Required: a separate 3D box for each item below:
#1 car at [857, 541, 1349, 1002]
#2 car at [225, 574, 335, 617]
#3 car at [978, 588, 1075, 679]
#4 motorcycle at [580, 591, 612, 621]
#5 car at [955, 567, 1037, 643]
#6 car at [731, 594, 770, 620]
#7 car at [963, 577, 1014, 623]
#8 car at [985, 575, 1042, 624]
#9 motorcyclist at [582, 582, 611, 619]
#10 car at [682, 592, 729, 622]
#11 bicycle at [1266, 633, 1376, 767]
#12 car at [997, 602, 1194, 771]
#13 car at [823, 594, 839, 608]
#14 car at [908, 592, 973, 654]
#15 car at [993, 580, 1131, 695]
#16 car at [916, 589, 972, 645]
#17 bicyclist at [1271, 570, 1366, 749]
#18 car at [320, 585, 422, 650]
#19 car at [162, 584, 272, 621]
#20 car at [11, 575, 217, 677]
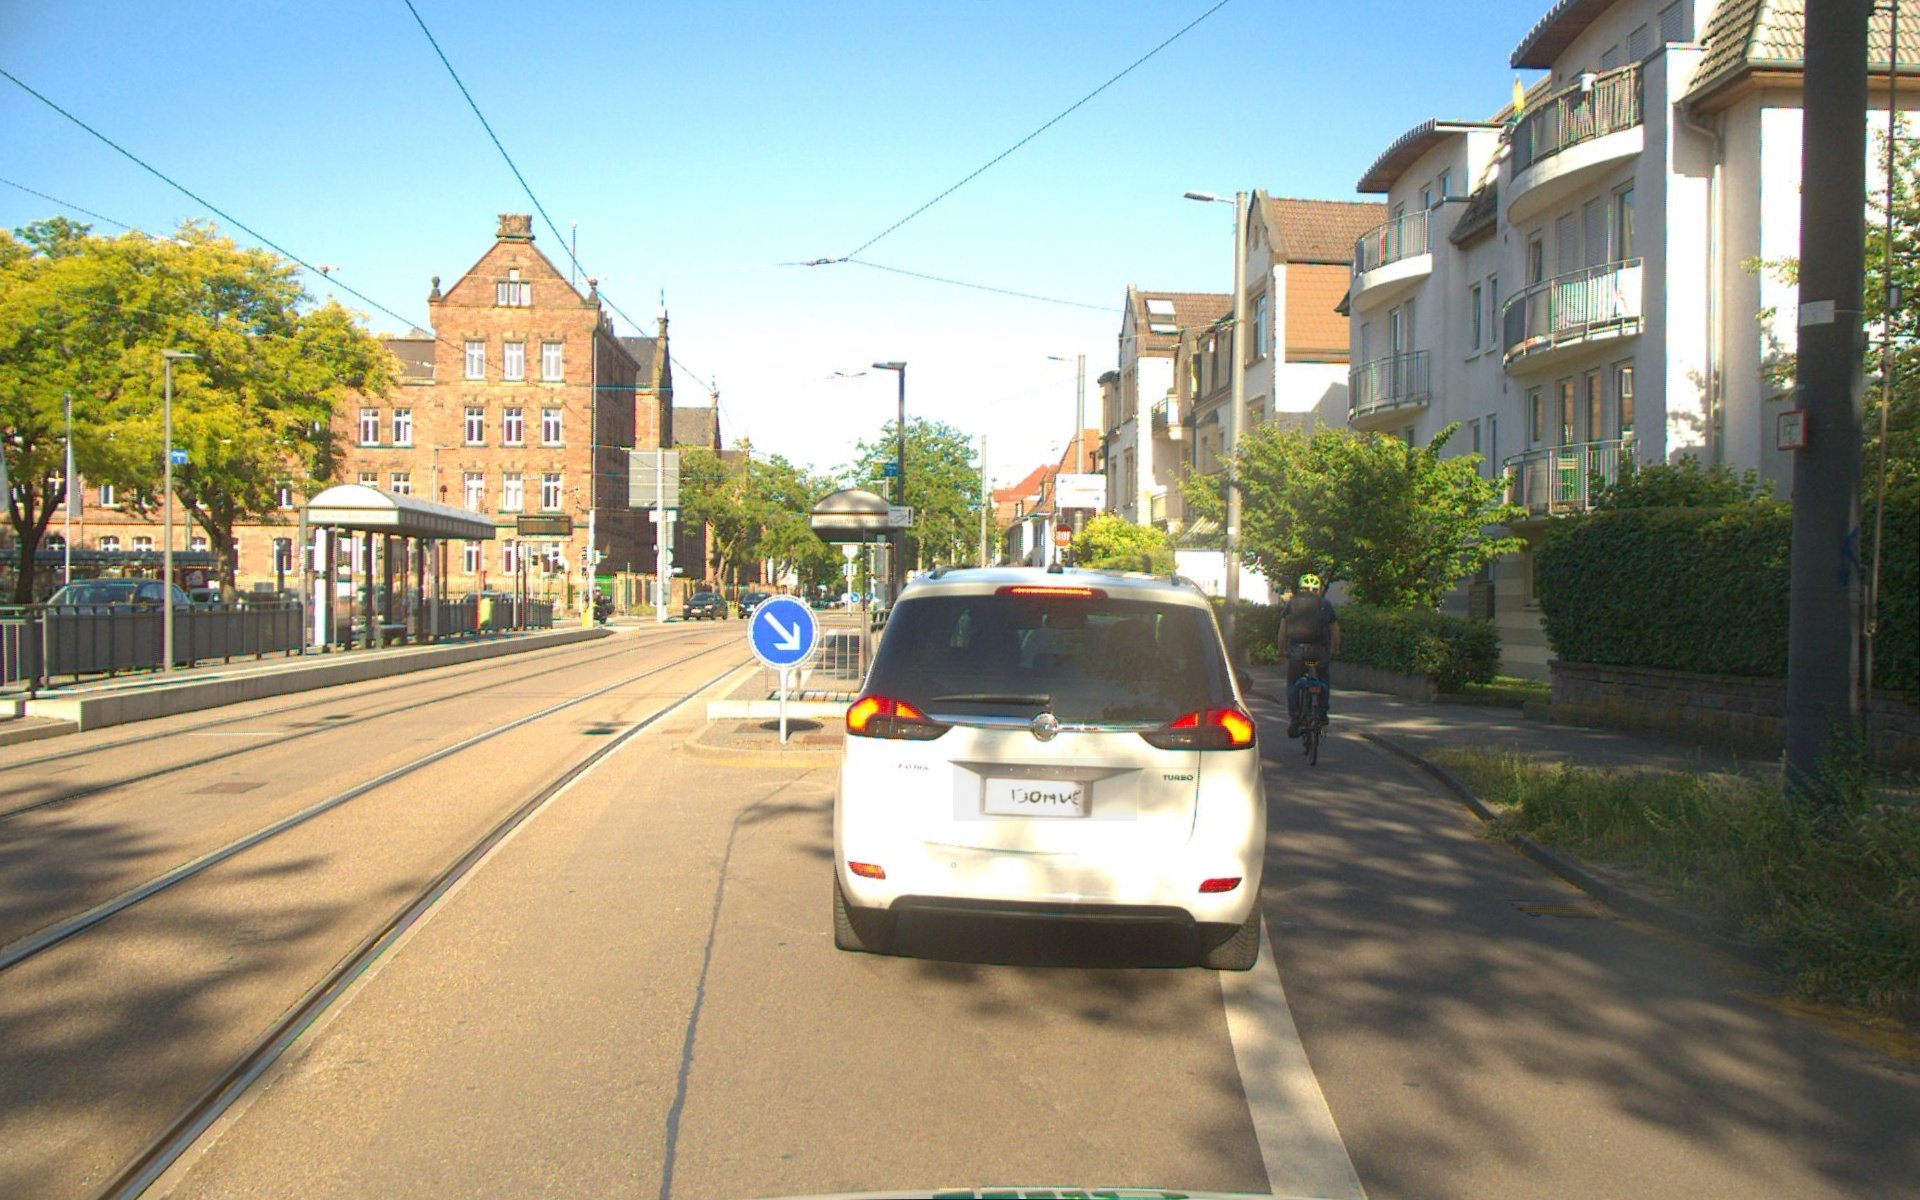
[{"bbox_3d":[0.447,0.643,8.039,1.798,1.670,3.916,1,0,-3],"label":"car"},{"bbox_3d":[-28.014,-0.185,68.251,3.780,1.689,1.750,1,0,-1],"label":"car"},{"bbox_3d":[1.247,0.626,32.438,1.739,1.660,3.880,1,0,0],"label":"car"},{"bbox_3d":[-15.749,0.268,71.604,1.108,1.265,2.569,1,0,-7],"label":"motorcycle"},{"bbox_3d":[0.805,0.122,39.092,1.740,1.660,3.879,1,0,-1],"label":"car"},{"bbox_3d":[-13.064,0.441,103.521,1.953,1.573,3.999,1,0,-1],"label":"car"},{"bbox_3d":[1.062,-0.006,62.609,1.740,1.660,3.879,1,0,-1],"label":"car"},{"bbox_3d":[1.852,-0.011,58.278,1.740,1.660,3.879,1,0,-1],"label":"car"},{"bbox_3d":[-15.750,0.014,71.632,1.103,1.552,1.053,1,0,-7],"label":"motorcyclist"},{"bbox_3d":[-13.586,0.369,88.432,1.953,1.573,3.999,1,0,-1],"label":"car"},{"bbox_3d":[3.443,0.929,15.896,0.671,1.177,1.619,1,0,-1],"label":"bicycle"},{"bbox_3d":[1.235,0.757,16.445,1.554,1.445,3.899,0,0,-1],"label":"car"},{"bbox_3d":[-16.006,0.157,205.586,1.868,1.706,4.355,1,0,-3],"label":"car"},{"bbox_3d":[-0.559,0.646,47.004,1.740,1.660,3.880,1,0,-1],"label":"car"},{"bbox_3d":[1.545,0.557,26.302,1.740,1.660,3.878,1,0,-3],"label":"car"},{"bbox_3d":[-0.557,0.549,53.902,1.740,1.722,3.879,1,0,-1],"label":"car"},{"bbox_3d":[3.447,0.558,15.969,0.672,1.663,1.015,1,0,-1],"label":"bicyclist"},{"bbox_3d":[-15.962,0.447,45.005,1.762,1.666,4.112,-1,0,-7],"label":"car"},{"bbox_3d":[-32.830,0.105,73.172,3.982,1.548,1.877,1,0,-1],"label":"car"},{"bbox_3d":[-14.680,0.412,28.957,1.884,1.645,4.111,0,0,-7],"label":"car"}]
